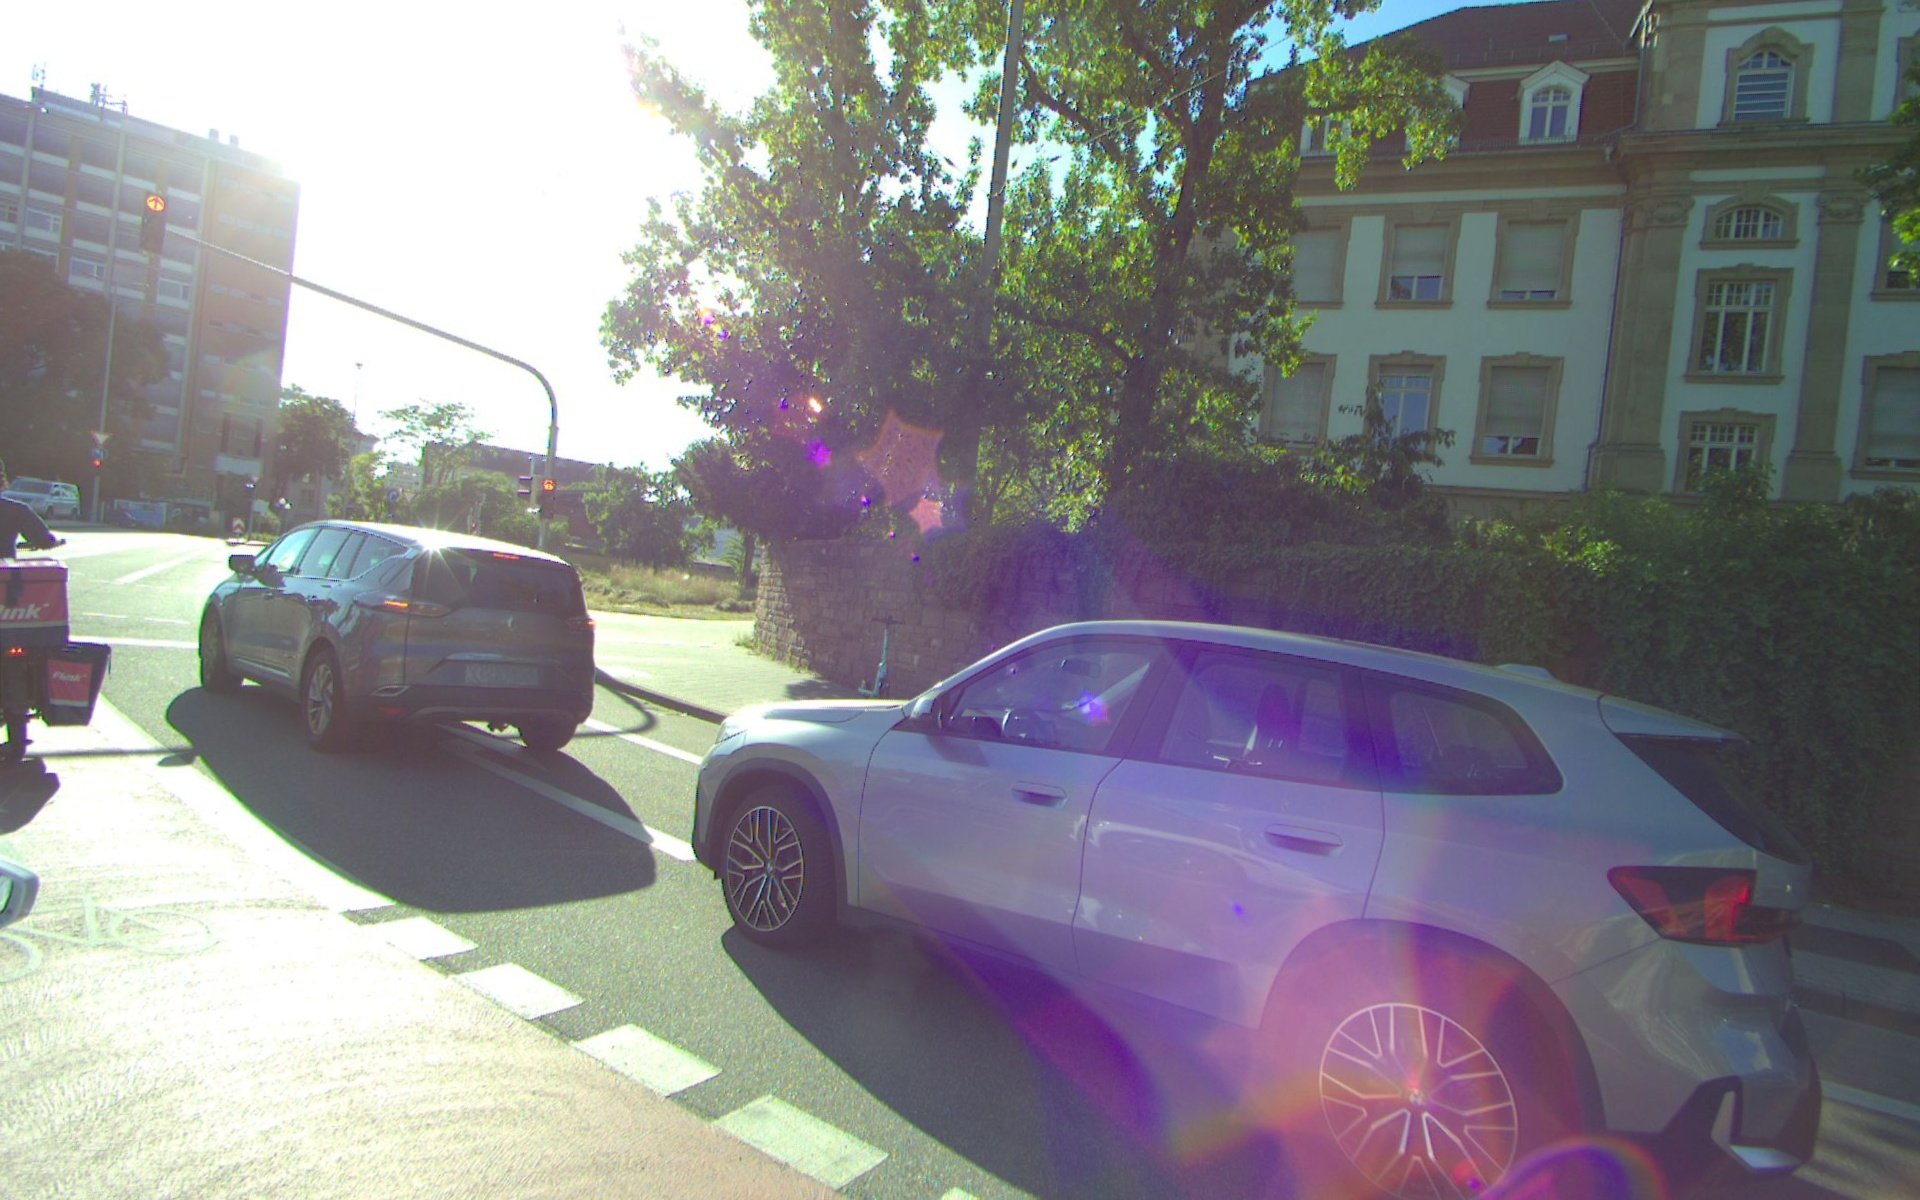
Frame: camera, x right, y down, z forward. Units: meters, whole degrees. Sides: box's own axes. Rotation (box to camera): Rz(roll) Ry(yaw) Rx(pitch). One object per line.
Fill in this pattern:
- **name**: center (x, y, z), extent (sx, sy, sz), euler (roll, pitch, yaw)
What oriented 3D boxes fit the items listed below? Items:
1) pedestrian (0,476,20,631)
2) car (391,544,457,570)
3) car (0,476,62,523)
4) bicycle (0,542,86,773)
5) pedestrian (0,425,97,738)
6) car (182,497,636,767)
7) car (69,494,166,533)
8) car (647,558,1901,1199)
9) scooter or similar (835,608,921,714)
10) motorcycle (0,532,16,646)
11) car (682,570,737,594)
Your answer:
- **pedestrian**: center (-8.713, -0.301, 8.749), extent (0.585, 1.617, 1.013), euler (8, -1, -41)
- **car**: center (-42.081, -3.377, 79.093), extent (4.338, 1.549, 1.794), euler (6, 1, -26)
- **car**: center (-46.322, -4.954, 50.006), extent (1.898, 1.969, 4.660), euler (6, 0, -36)
- **bicycle**: center (-5.993, 0.256, 6.179), extent (2.340, 1.185, 0.553), euler (6, -2, 42)
- **pedestrian**: center (-6.218, -0.146, 6.394), extent (0.943, 1.890, 0.806), euler (6, -1, 40)
- **car**: center (-4.839, 0.163, 8.556), extent (4.307, 1.709, 1.830), euler (6, -2, 40)
- **car**: center (-57.683, -5.903, 68.965), extent (4.647, 1.969, 1.903), euler (7, 0, -25)
- **car**: center (0.824, 0.882, 4.244), extent (4.263, 1.612, 1.788), euler (6, -2, 37)
- **scooter or similar**: center (-1.158, 0.819, 13.883), extent (0.569, 1.285, 1.414), euler (6, 0, -27)
- **motorcycle**: center (-8.937, -0.082, 8.922), extent (0.611, 1.110, 2.334), euler (8, -2, -41)
- **car**: center (-20.496, -1.462, 82.317), extent (3.955, 1.549, 1.791), euler (6, 1, -31)
